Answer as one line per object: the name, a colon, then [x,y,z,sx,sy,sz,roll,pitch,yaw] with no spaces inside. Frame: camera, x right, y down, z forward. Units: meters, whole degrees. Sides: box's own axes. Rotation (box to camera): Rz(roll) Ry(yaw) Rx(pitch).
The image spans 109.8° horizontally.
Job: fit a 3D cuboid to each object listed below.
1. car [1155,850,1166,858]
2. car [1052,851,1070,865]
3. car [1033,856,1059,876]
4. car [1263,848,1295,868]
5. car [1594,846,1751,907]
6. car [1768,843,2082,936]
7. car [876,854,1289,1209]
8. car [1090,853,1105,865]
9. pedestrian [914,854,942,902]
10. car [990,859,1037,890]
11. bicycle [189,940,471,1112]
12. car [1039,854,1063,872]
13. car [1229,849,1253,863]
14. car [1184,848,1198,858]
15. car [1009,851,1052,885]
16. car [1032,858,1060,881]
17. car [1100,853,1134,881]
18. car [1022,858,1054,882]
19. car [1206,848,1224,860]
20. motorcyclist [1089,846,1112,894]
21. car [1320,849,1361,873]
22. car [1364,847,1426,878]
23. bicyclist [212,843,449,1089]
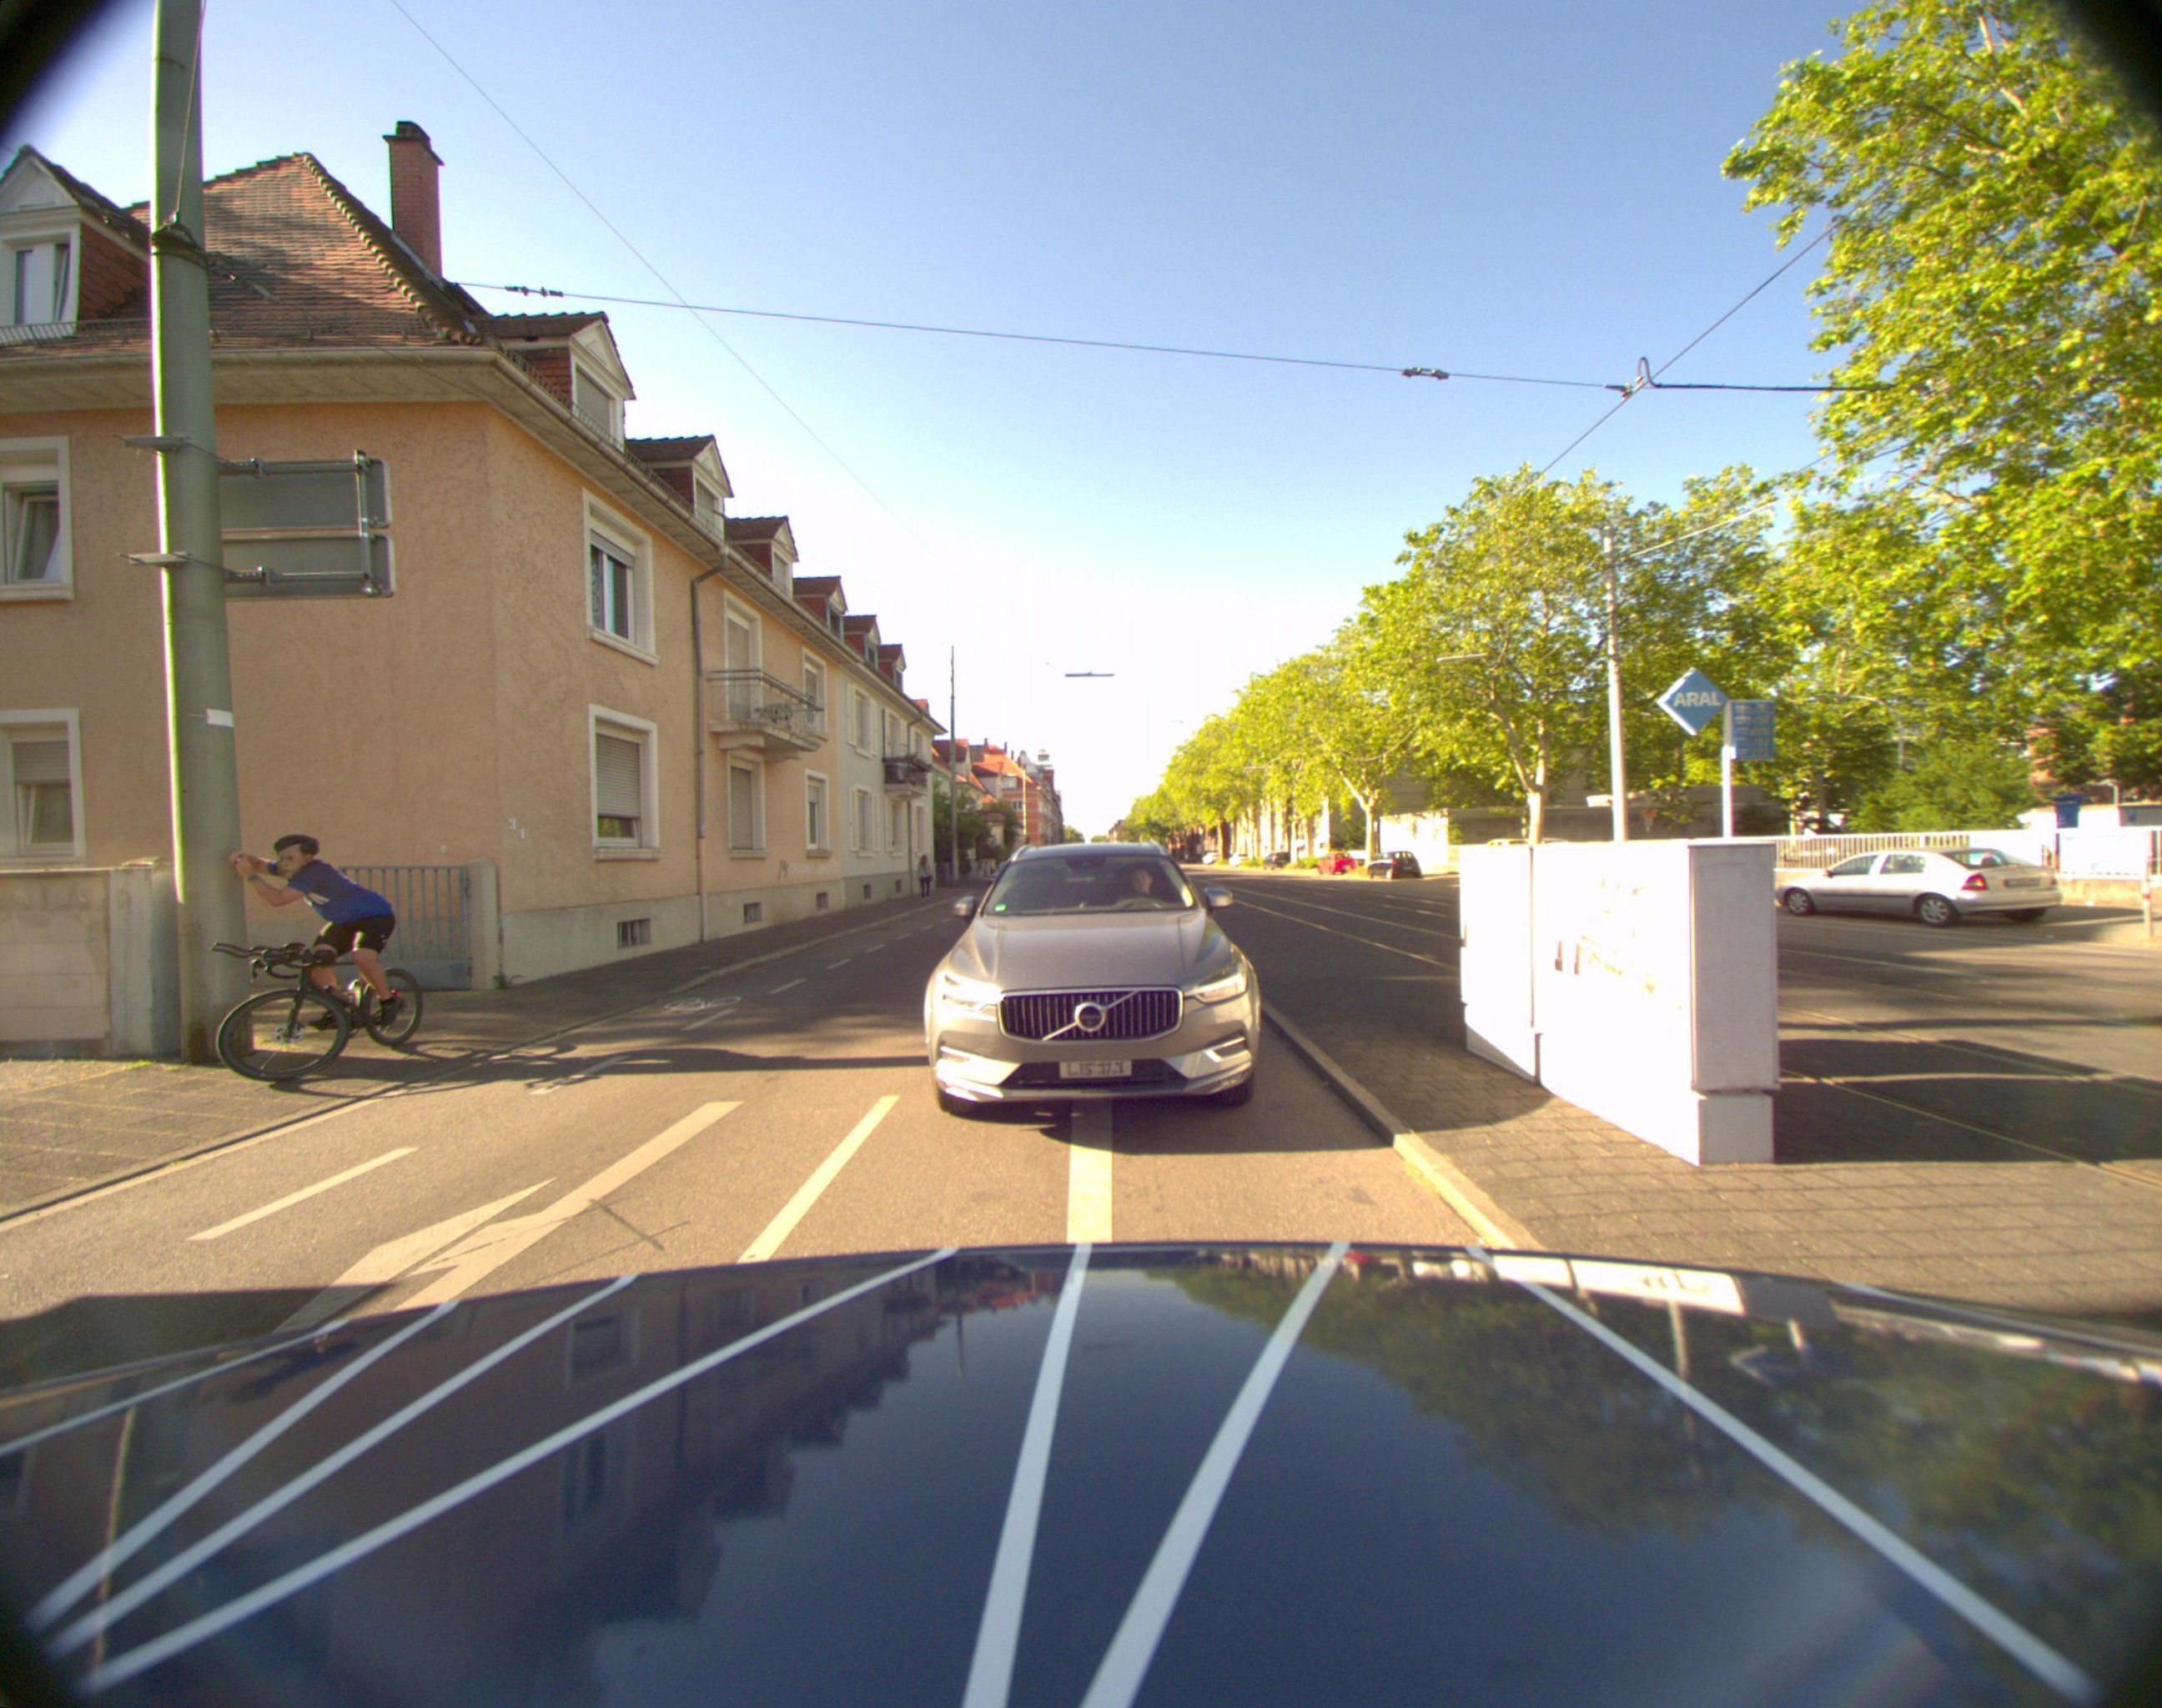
car: [16.307,-0.057,155.816,1.802,1.504,4.000,-1,0,1]
car: [-2.214,0.459,85.490,1.875,1.477,4.000,-1,0,1]
car: [-2.759,0.952,60.674,1.785,1.468,4.000,-1,0,1]
car: [17.187,0.293,66.041,1.802,1.652,4.000,-1,0,1]
car: [16.426,0.579,21.340,1.692,1.455,3.519,-4,0,2]
car: [16.241,0.600,14.991,1.795,1.455,3.966,-4,0,2]
car: [0.038,0.853,5.800,1.940,1.650,4.321,-1,0,1]
car: [2.249,0.666,103.469,1.998,1.543,4.000,-1,0,1]
pedestrian: [-5.433,0.839,27.043,0.694,1.652,1.098,-2,1,0]
car: [-3.217,0.970,37.024,1.647,1.357,3.868,-1,0,4]
bicycle: [-5.946,1.305,6.174,0.572,0.986,1.698,2,0,1]
car: [-2.570,0.775,66.828,1.875,1.477,4.000,-1,0,1]
car: [17.536,0.230,83.427,1.802,1.489,4.000,-1,0,1]
car: [18.183,-0.208,125.629,1.802,1.504,4.000,-1,0,1]
car: [-2.795,0.721,42.884,1.751,1.767,5.351,-1,0,3]
car: [-2.474,1.092,54.438,1.785,1.468,4.000,-1,0,1]
car: [1.998,0.705,43.503,1.762,1.513,4.101,-1,0,1]
car: [-2.690,0.997,48.302,1.785,1.346,4.000,-1,0,1]
car: [17.722,-0.001,100.672,1.802,1.504,4.000,-1,0,1]
motorcyclist: [0.784,0.615,30.290,0.827,1.832,1.159,-2,1,1]
car: [16.936,0.440,49.750,1.641,1.499,3.046,-1,0,1]
car: [16.876,0.427,40.980,1.826,1.521,3.653,-2,0,1]
bicyclist: [-6.151,0.864,6.289,1.076,1.854,0.846,2,1,1]
